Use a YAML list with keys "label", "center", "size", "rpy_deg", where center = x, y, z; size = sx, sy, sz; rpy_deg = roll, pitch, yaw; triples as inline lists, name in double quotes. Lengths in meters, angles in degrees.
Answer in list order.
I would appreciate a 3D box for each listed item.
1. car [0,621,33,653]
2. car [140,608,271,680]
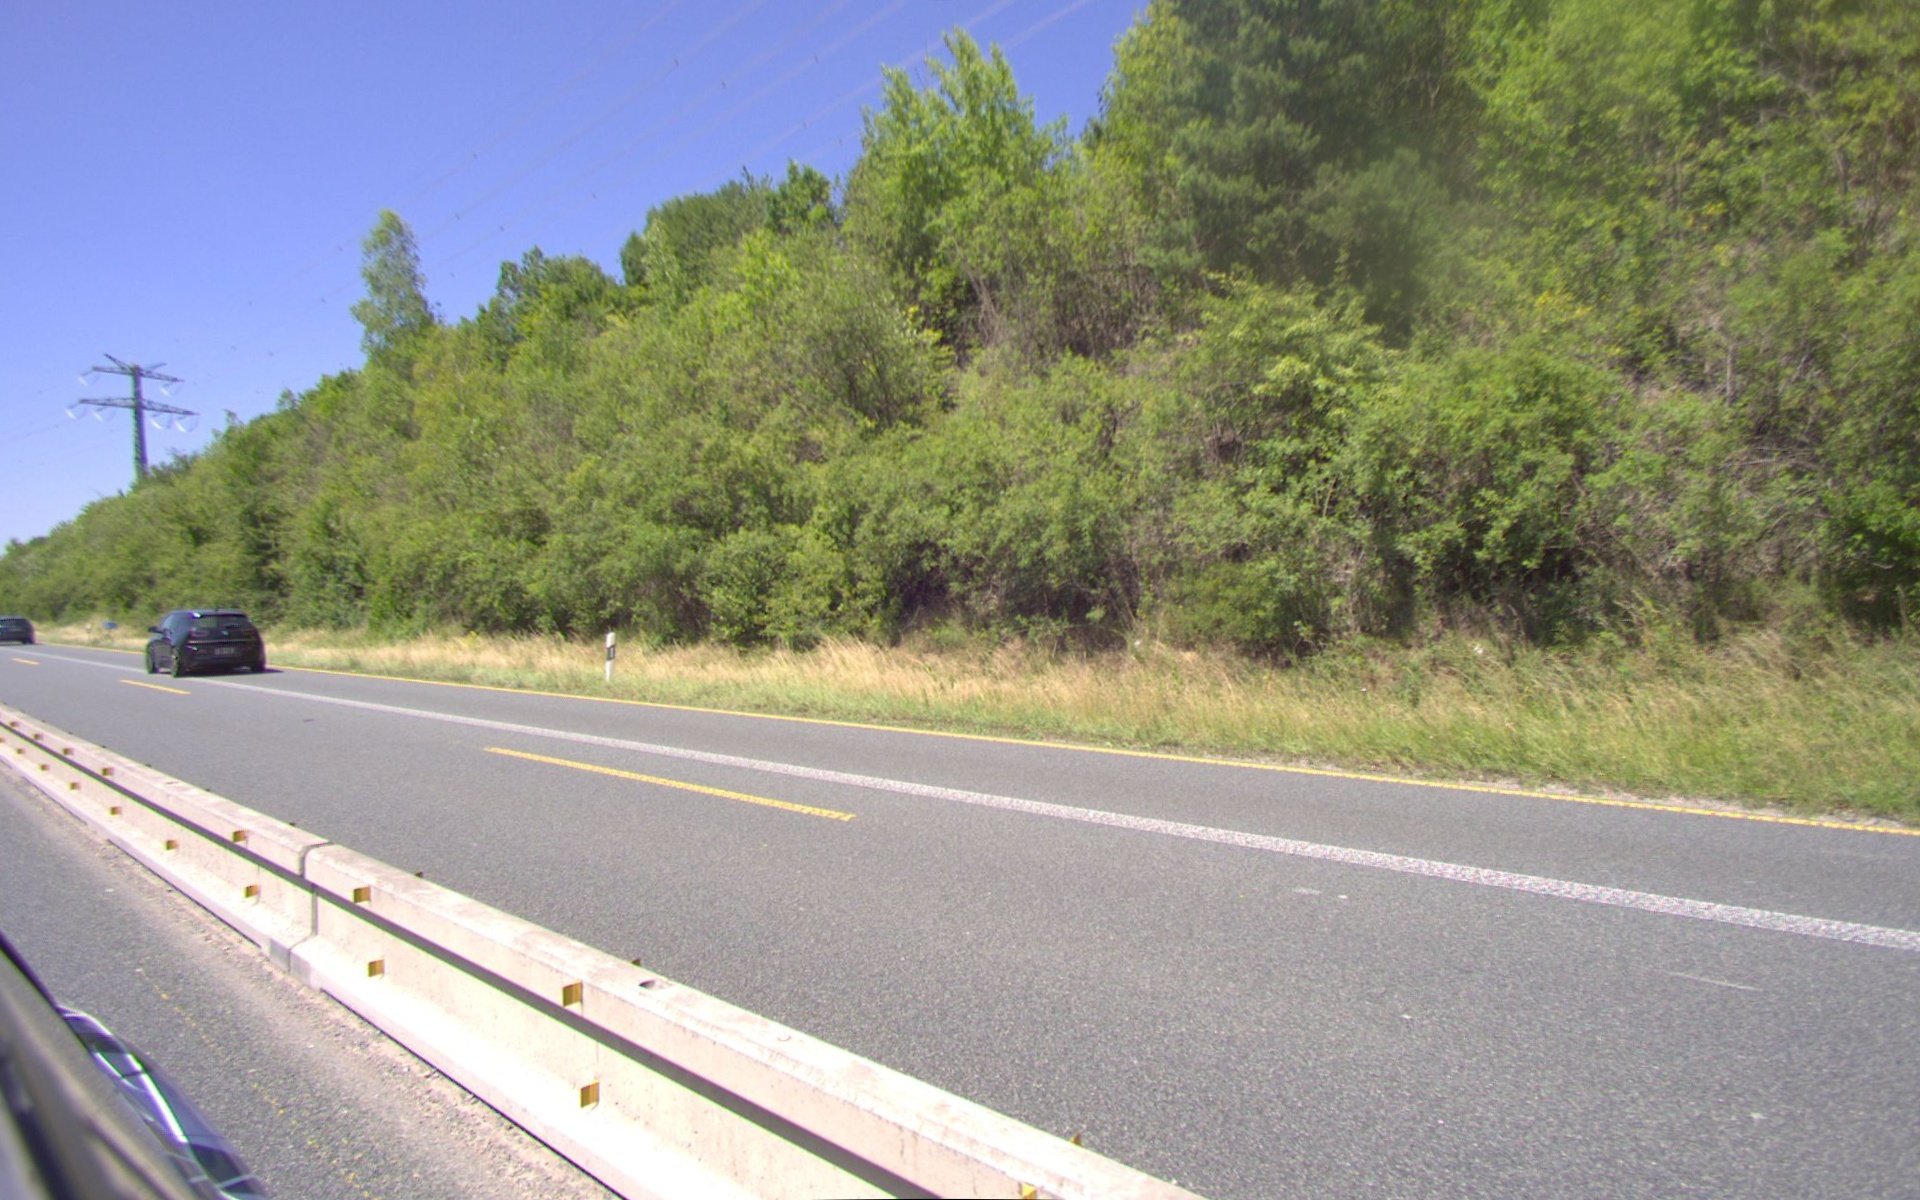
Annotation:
- label: "car"
  center: [-49.333, 1.904, 52.251]
  size: [4.183, 1.533, 1.705]
  rpy_deg: [-1, 0, 41]
- label: "car"
  center: [-18.460, 1.029, 24.695]
  size: [4.067, 1.588, 1.760]
  rpy_deg: [-1, 0, 41]
